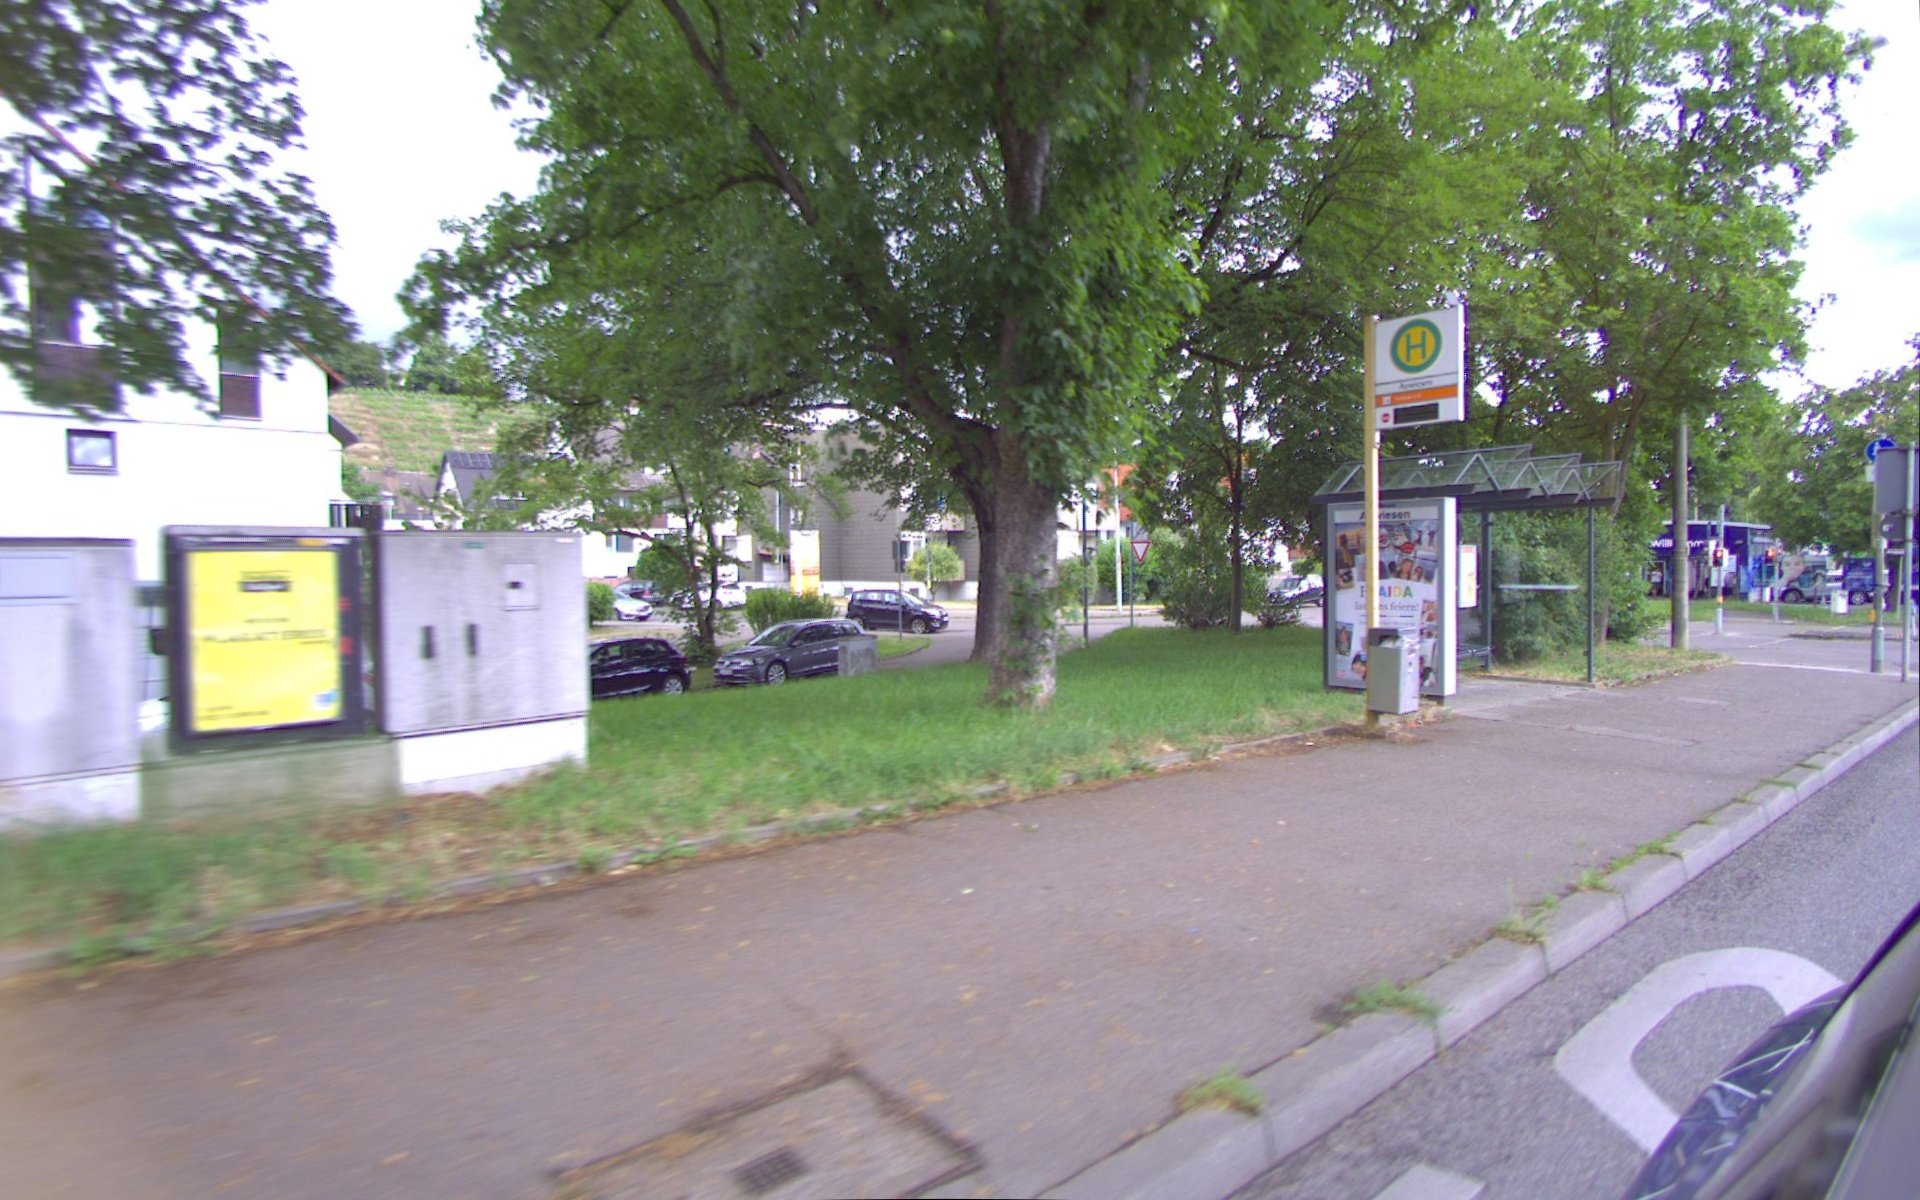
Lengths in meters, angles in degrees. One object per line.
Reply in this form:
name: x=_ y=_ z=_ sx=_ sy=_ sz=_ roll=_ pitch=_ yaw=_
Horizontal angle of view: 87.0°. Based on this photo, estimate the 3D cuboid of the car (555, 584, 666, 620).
car: x=-15.613 y=0.097 z=45.213 sx=4.413 sy=1.444 sz=1.987 roll=-2 pitch=0 yaw=20

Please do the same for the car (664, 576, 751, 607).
car: x=-12.899 y=-0.463 z=51.795 sx=3.952 sy=1.536 sz=1.986 roll=0 pitch=1 yaw=22

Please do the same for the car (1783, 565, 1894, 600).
car: x=46.637 y=-0.967 z=53.859 sx=4.183 sy=1.718 sz=1.819 roll=2 pitch=2 yaw=34

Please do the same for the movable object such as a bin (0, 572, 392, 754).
movable object such as a bin: x=-13.515 y=0.911 z=17.421 sx=1.991 sy=2.656 sz=6.180 roll=-2 pitch=0 yaw=41

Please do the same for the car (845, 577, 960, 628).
car: x=-2.173 y=0.101 z=38.675 sx=3.944 sy=1.788 sz=1.990 roll=-2 pitch=0 yaw=17

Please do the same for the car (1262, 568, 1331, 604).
car: x=18.938 y=-0.805 z=56.829 sx=4.333 sy=1.865 sz=1.719 roll=-2 pitch=0 yaw=-42

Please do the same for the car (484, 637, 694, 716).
car: x=-7.581 y=1.507 z=20.957 sx=1.618 sy=1.262 sz=3.805 roll=-2 pitch=0 yaw=39

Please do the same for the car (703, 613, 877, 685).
car: x=-4.131 y=1.141 z=25.132 sx=1.656 sy=1.480 sz=4.231 roll=-2 pitch=0 yaw=38

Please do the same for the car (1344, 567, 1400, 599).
car: x=25.705 y=-1.092 z=63.062 sx=3.856 sy=1.865 sz=1.618 roll=-2 pitch=0 yaw=-41

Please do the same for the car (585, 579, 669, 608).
car: x=-17.790 y=-0.362 z=54.128 sx=3.952 sy=1.536 sz=1.986 roll=0 pitch=1 yaw=22

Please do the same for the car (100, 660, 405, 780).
car: x=-11.283 y=1.819 z=16.354 sx=1.475 sy=1.403 sz=3.787 roll=-2 pitch=0 yaw=39
